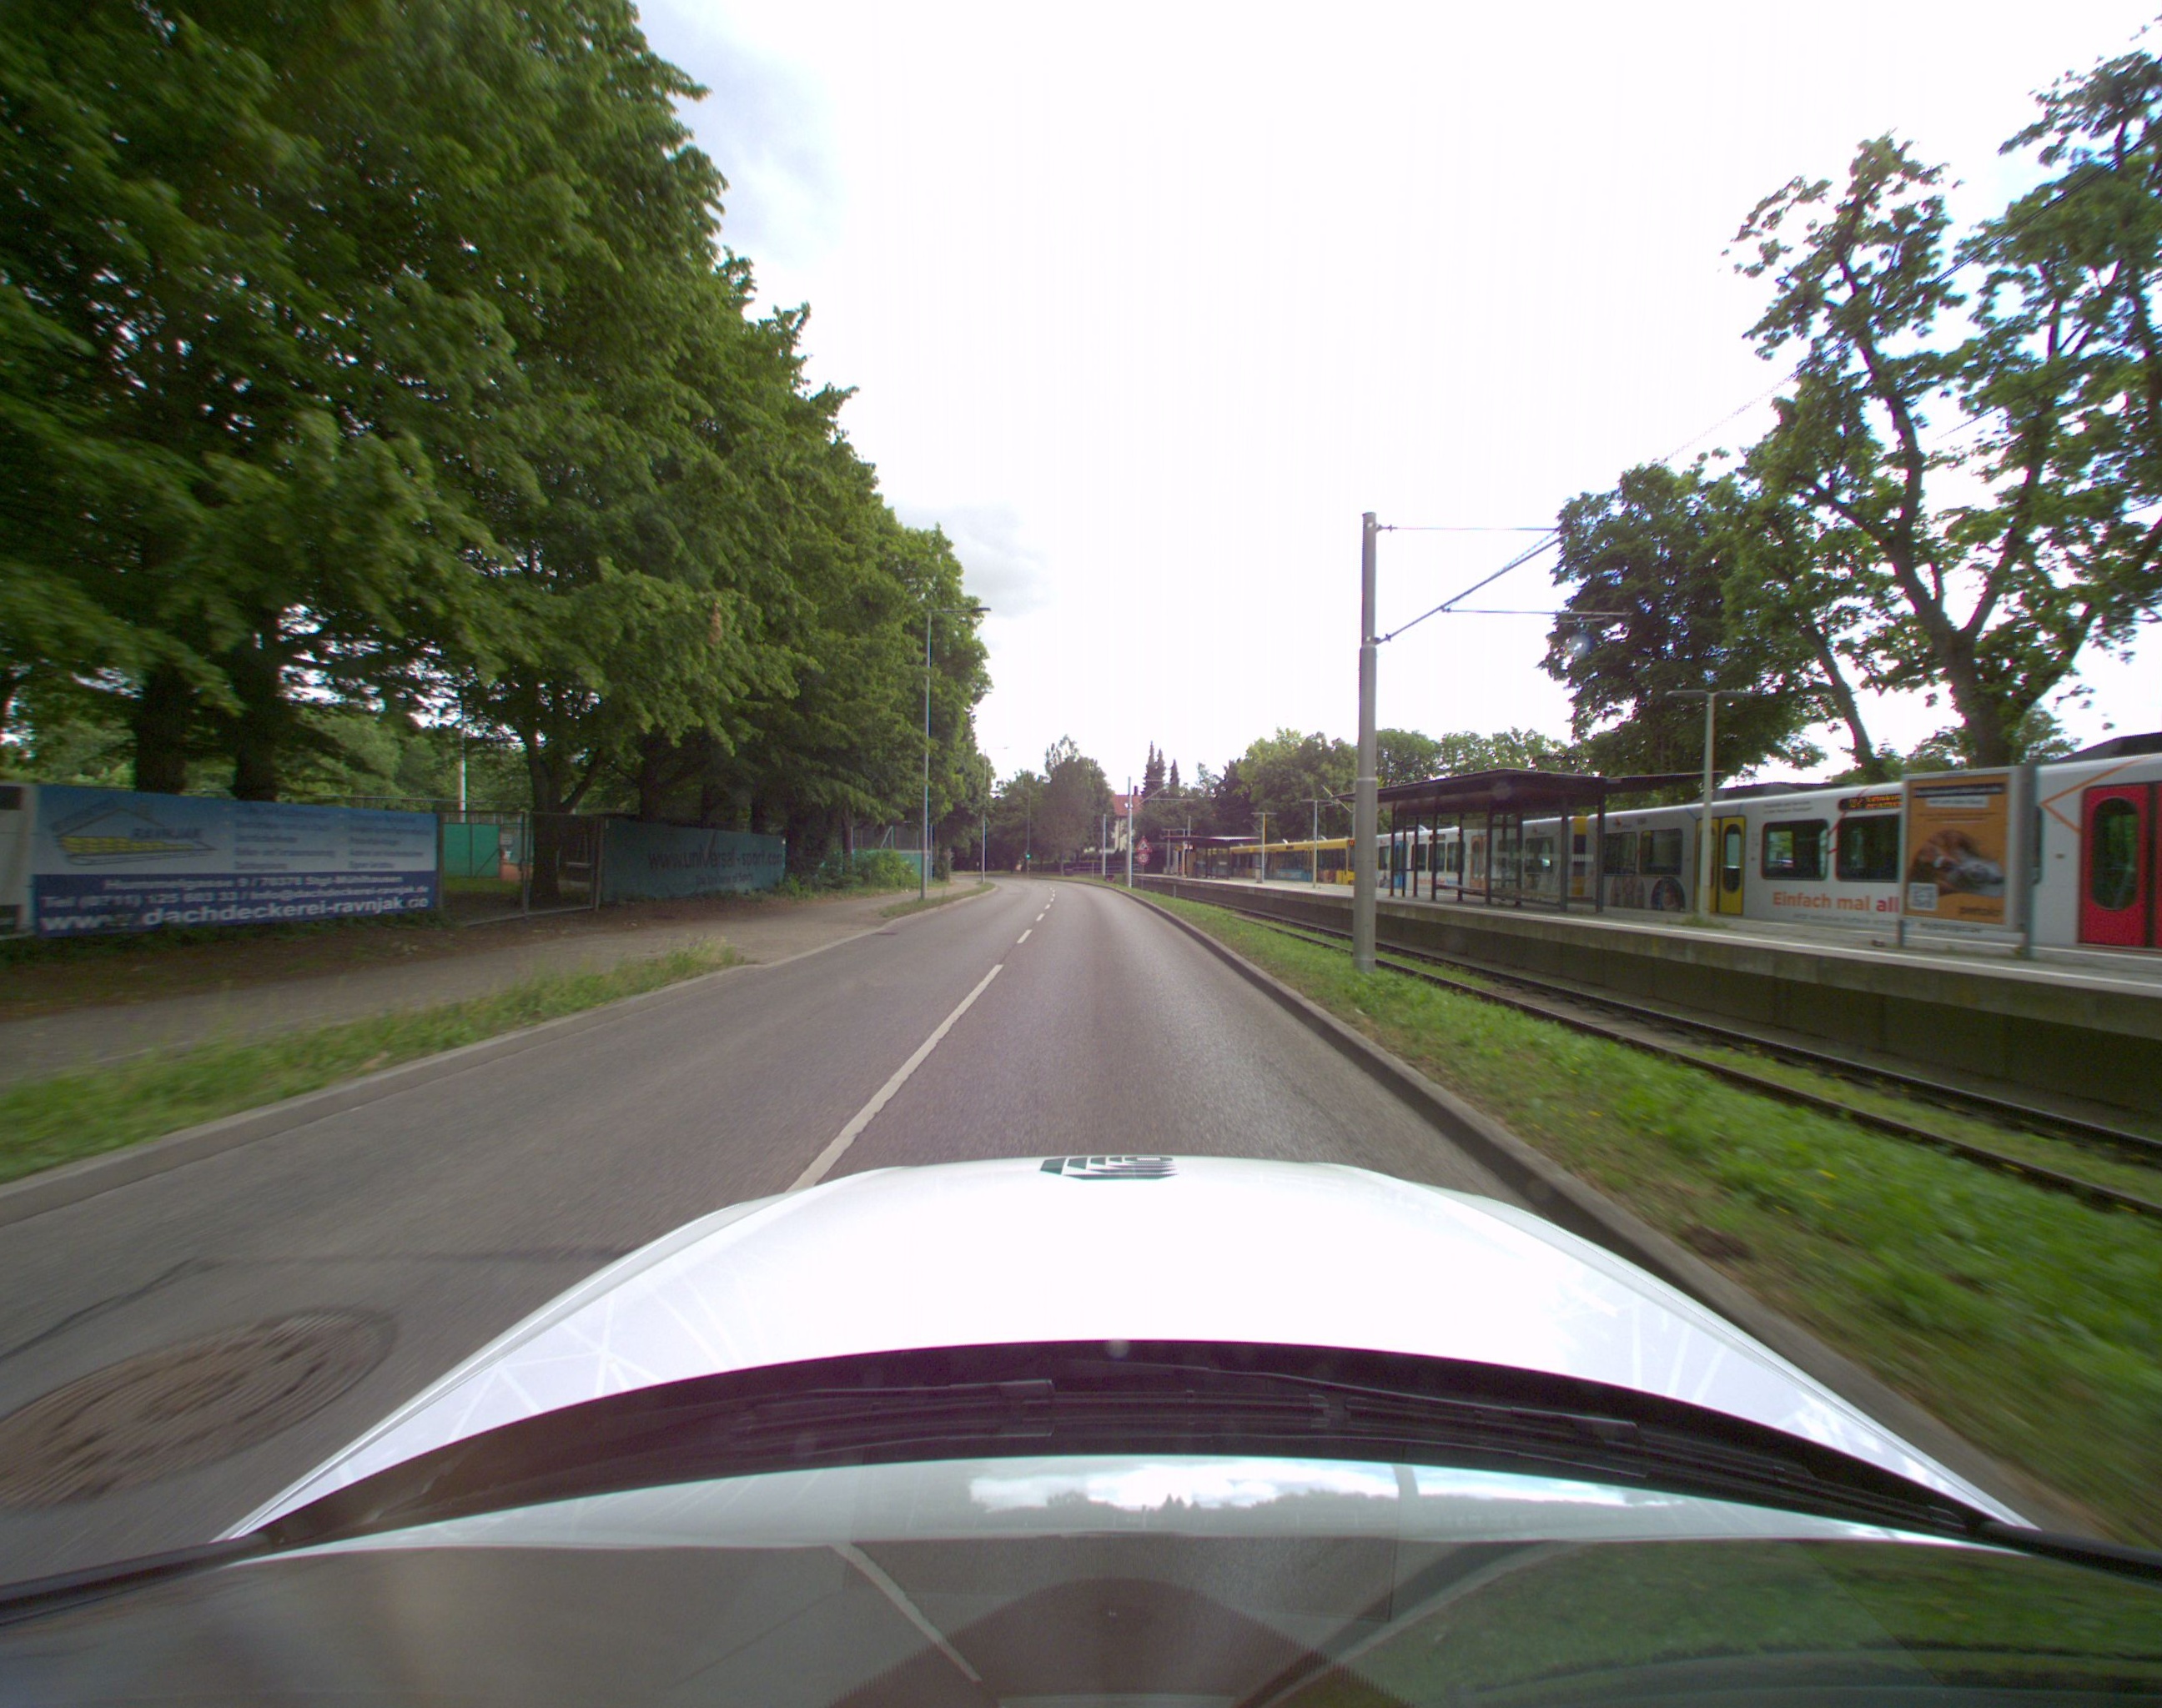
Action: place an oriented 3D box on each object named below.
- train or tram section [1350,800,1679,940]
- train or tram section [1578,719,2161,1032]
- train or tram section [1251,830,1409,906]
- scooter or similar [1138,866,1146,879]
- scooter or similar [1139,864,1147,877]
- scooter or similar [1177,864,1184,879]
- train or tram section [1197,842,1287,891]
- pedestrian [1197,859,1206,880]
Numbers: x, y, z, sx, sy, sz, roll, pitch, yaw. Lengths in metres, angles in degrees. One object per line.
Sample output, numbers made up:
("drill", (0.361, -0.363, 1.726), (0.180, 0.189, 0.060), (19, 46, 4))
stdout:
("train or tram section", (15.208, 0.579, 32.108), (2.804, 3.799, 18.927), (2, -1, 0))
("train or tram section", (14.552, 0.342, 13.217), (2.801, 3.737, 18.549), (1, -1, 4))
("train or tram section", (14.630, 0.831, 50.833), (2.807, 3.737, 19.488), (2, -1, -3))
("scooter or similar", (5.897, 1.804, 79.128), (0.430, 1.253, 1.249), (0, -3, -13))
("scooter or similar", (6.185, 1.682, 81.501), (0.431, 1.253, 1.247), (0, -3, -16))
("scooter or similar", (8.446, 1.498, 69.300), (0.367, 1.242, 1.144), (0, -1, -4))
("train or tram section", (13.378, 1.026, 70.399), (2.807, 3.589, 19.488), (2, -1, -3))
("pedestrian", (9.407, 1.207, 63.566), (0.618, 1.573, 0.667), (0, -2, 13))
